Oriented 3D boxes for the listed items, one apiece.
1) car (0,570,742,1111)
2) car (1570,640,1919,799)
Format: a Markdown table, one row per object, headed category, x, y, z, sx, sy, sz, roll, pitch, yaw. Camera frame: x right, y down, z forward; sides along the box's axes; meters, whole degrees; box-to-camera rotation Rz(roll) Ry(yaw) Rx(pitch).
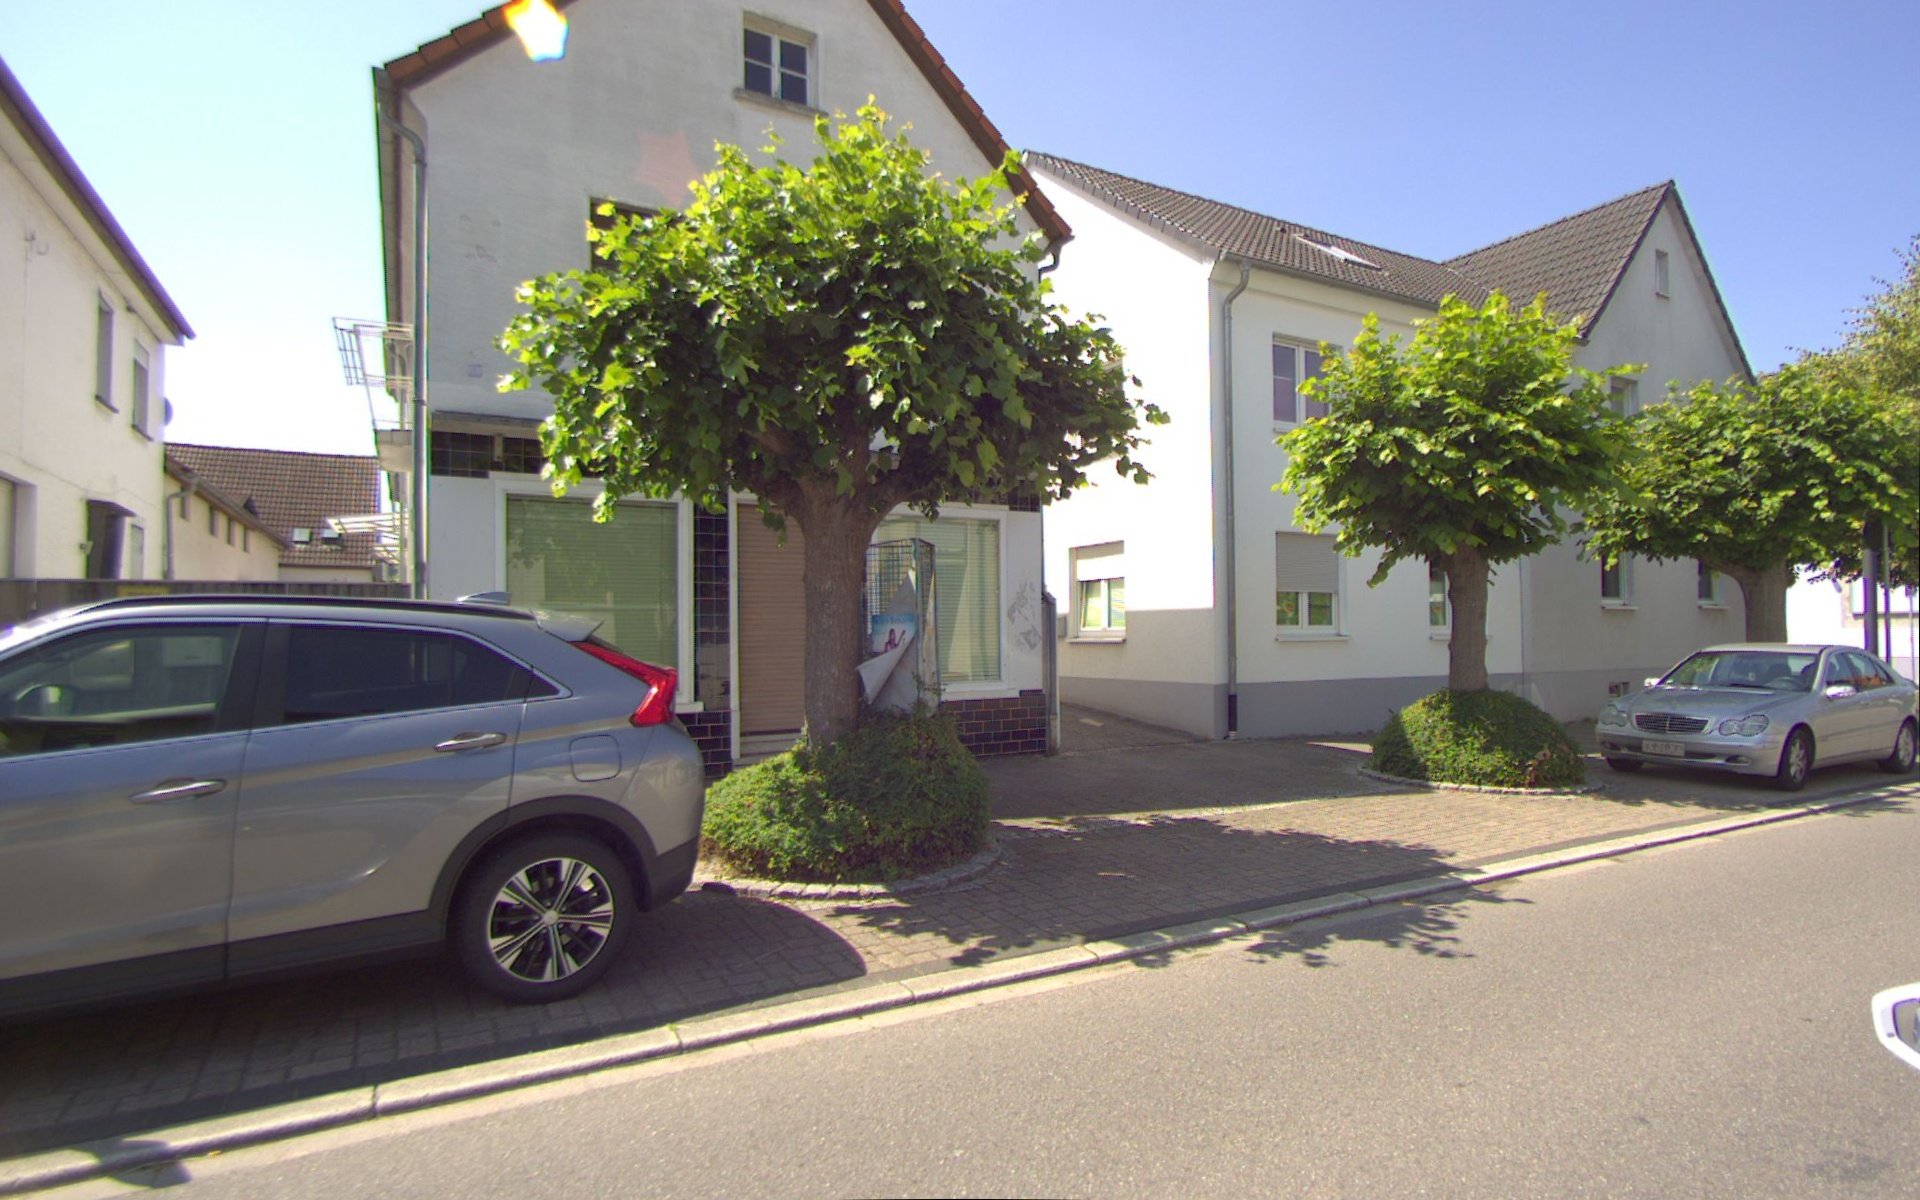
| category | x | y | z | sx | sy | sz | roll | pitch | yaw |
| --- | --- | --- | --- | --- | --- | --- | --- | --- | --- |
| car | -3.304 | 0.775 | 4.098 | 4.322 | 1.674 | 1.982 | 1 | -2 | -34 |
| car | 8.880 | 1.169 | 11.130 | 4.355 | 1.414 | 1.832 | 1 | -1 | -31 |
